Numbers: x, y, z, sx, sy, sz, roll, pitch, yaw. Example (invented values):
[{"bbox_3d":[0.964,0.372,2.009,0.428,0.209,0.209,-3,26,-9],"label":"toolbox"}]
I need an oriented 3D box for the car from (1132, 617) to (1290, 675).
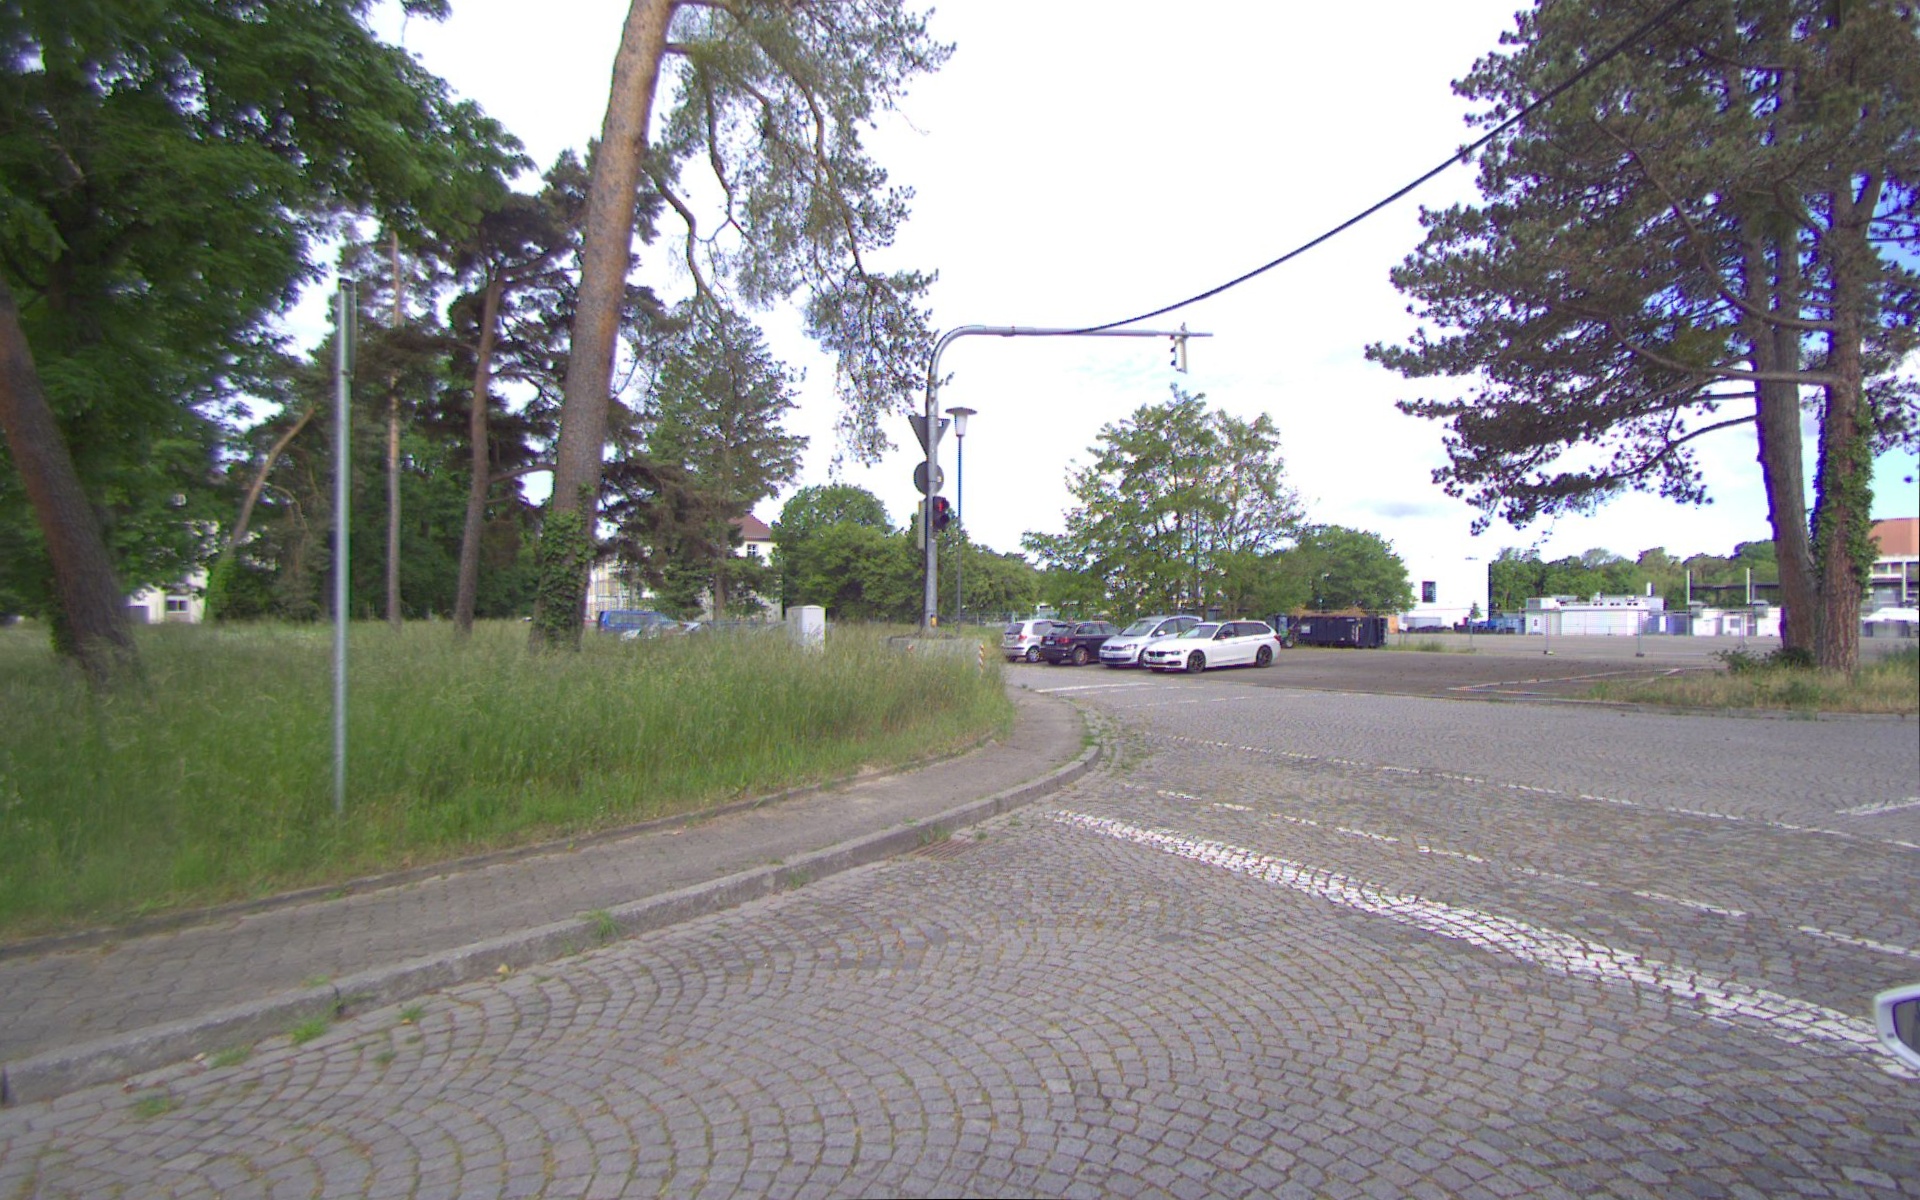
[{"bbox_3d":[7.527,1.310,29.994,4.686,1.461,1.800,-2,0,-32],"label":"car"}]

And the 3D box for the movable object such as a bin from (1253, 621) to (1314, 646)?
[{"bbox_3d":[14.154,1.444,43.922,2.630,1.062,1.171,1,-1,-34],"label":"movable object such as a bin"}]

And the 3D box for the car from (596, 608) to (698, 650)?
[{"bbox_3d":[-16.129,1.463,51.799,4.734,2.007,1.983,0,-1,-29],"label":"car"}]

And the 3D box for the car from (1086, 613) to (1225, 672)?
[{"bbox_3d":[6.277,1.319,32.176,4.278,1.605,1.812,-2,1,-32],"label":"car"}]

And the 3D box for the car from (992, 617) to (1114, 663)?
[{"bbox_3d":[3.418,1.416,36.792,4.278,1.587,1.783,1,-1,-32],"label":"car"}]

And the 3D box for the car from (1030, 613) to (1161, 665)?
[{"bbox_3d":[4.664,1.302,34.422,4.278,1.522,1.845,-2,1,-32],"label":"car"}]
